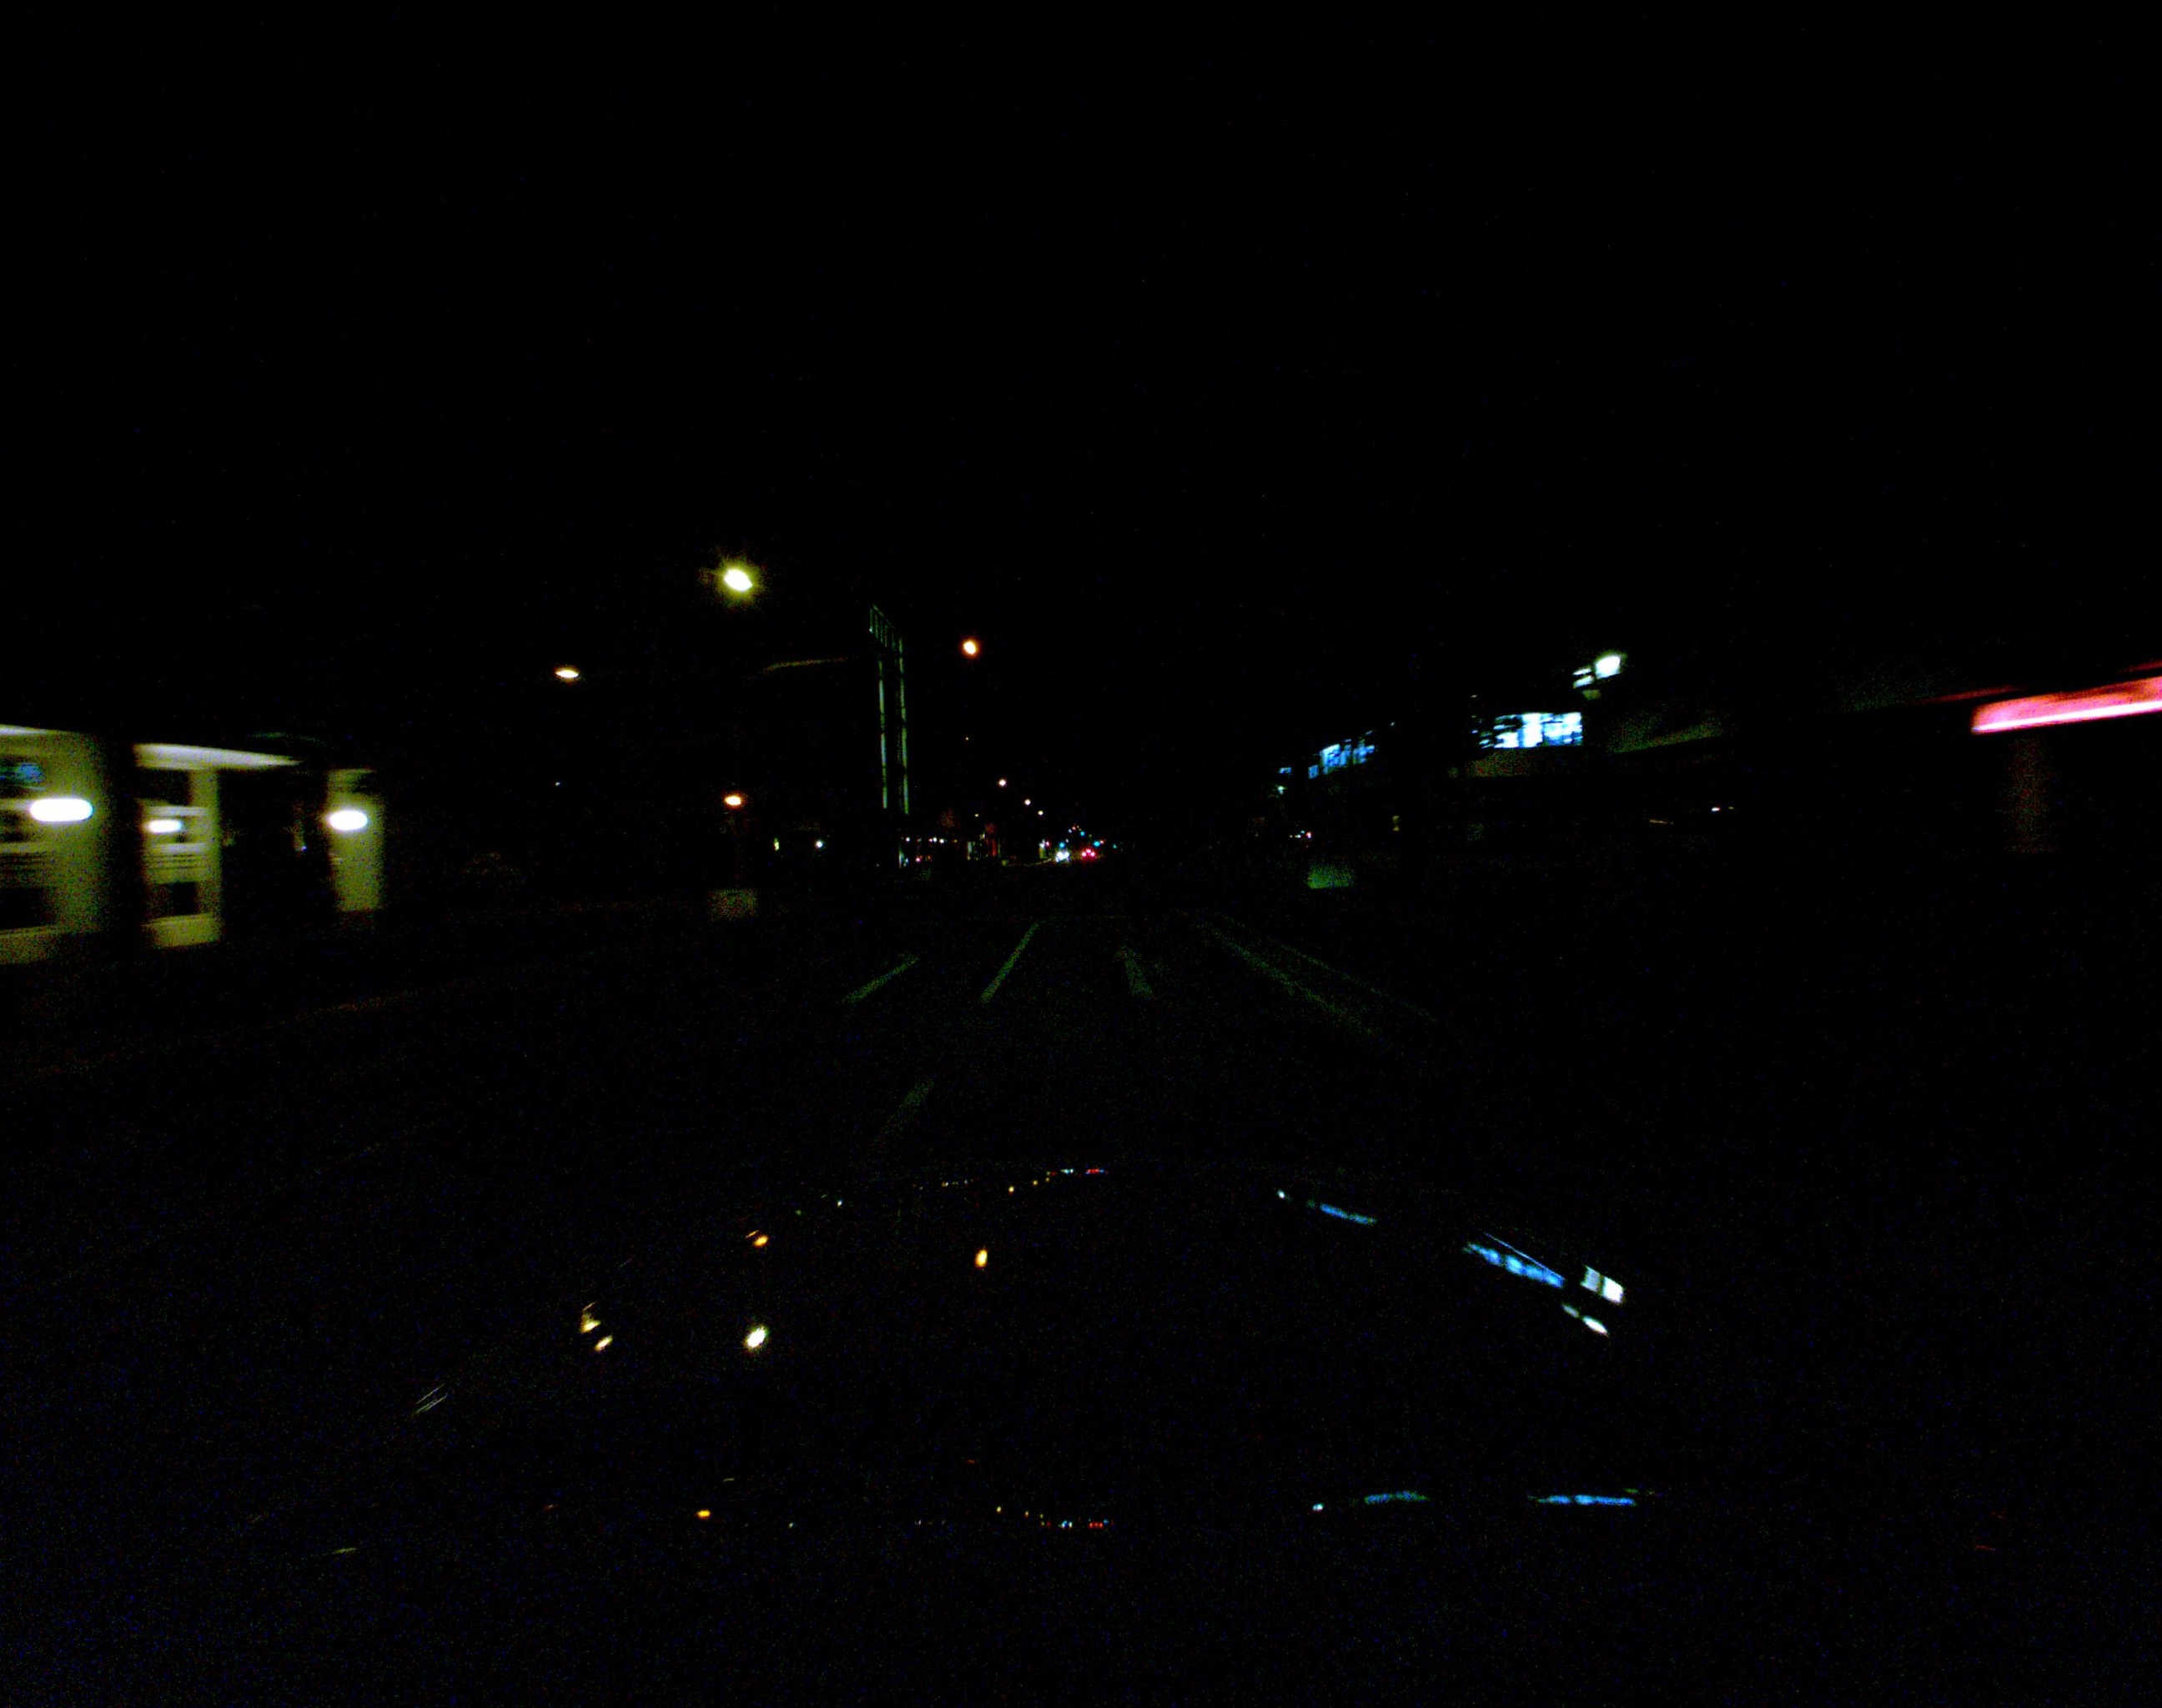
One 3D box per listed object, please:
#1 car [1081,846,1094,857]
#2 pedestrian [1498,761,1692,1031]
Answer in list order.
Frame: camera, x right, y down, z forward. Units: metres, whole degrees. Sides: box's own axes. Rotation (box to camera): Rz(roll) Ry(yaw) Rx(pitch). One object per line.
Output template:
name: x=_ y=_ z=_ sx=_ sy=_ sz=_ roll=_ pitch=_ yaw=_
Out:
car: x=1.103 y=-0.395 z=136.266 sx=1.987 sy=1.643 sz=4.000 roll=-3 pitch=1 yaw=0
pedestrian: x=3.800 y=0.282 z=6.119 sx=0.700 sy=1.818 sz=1.082 roll=-3 pitch=0 yaw=1
